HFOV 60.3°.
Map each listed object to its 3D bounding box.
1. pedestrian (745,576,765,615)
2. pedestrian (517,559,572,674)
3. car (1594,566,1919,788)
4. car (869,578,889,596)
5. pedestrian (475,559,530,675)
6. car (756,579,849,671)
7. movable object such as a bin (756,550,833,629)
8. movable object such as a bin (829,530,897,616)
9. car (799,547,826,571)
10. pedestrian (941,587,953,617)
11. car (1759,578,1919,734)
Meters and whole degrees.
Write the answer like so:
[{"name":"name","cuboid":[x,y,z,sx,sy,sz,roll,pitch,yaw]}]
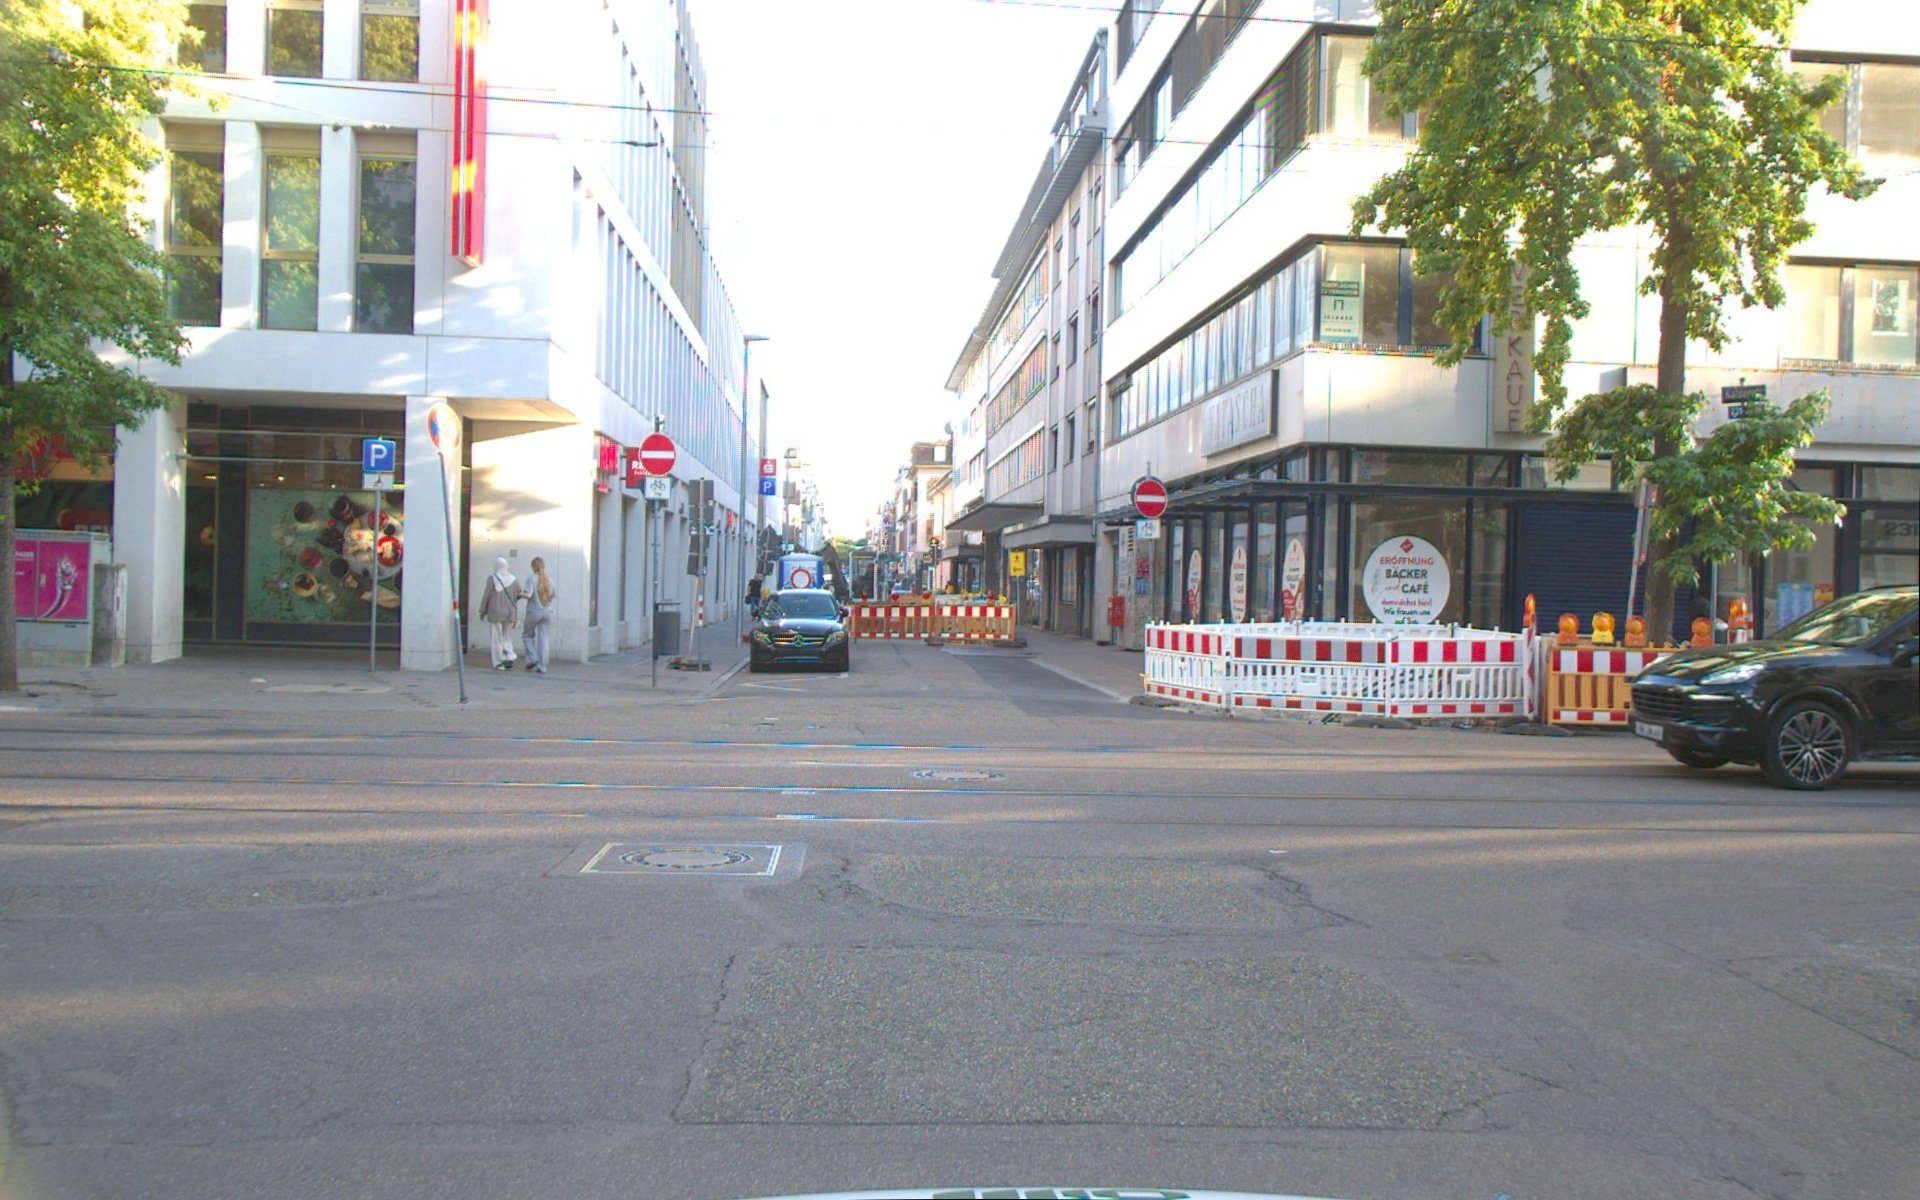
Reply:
[{"name":"pedestrian","cuboid":[-7.865,-0.165,63.404,0.701,1.490,0.525,0,1,-2]},{"name":"pedestrian","cuboid":[-6.136,0.226,24.390,0.603,1.656,0.865,0,1,-28]},{"name":"car","cuboid":[8.391,0.664,14.573,4.833,1.756,2.020,2,0,-5]},{"name":"car","cuboid":[-8.324,-1.324,169.546,1.954,1.807,3.997,0,1,-4]},{"name":"pedestrian","cuboid":[-6.643,0.235,23.991,0.603,1.656,0.865,0,1,-28]},{"name":"car","cuboid":[-2.929,0.416,30.321,1.598,1.577,3.137,0,1,-7]},{"name":"movable object such as a bin","cuboid":[-4.509,-0.307,45.502,1.954,2.049,3.997,0,1,-4]},{"name":"movable object such as a bin","cuboid":[-3.286,-0.895,55.538,2.114,2.710,4.569,1,1,-4]},{"name":"car","cuboid":[-11.124,-3.071,124.668,1.954,1.807,3.997,0,1,-4]},{"name":"pedestrian","cuboid":[-0.668,0.079,82.441,0.513,1.490,0.718,1,0,4]},{"name":"car","cuboid":[13.228,0.726,21.350,4.833,1.806,2.021,2,3,-5]}]
